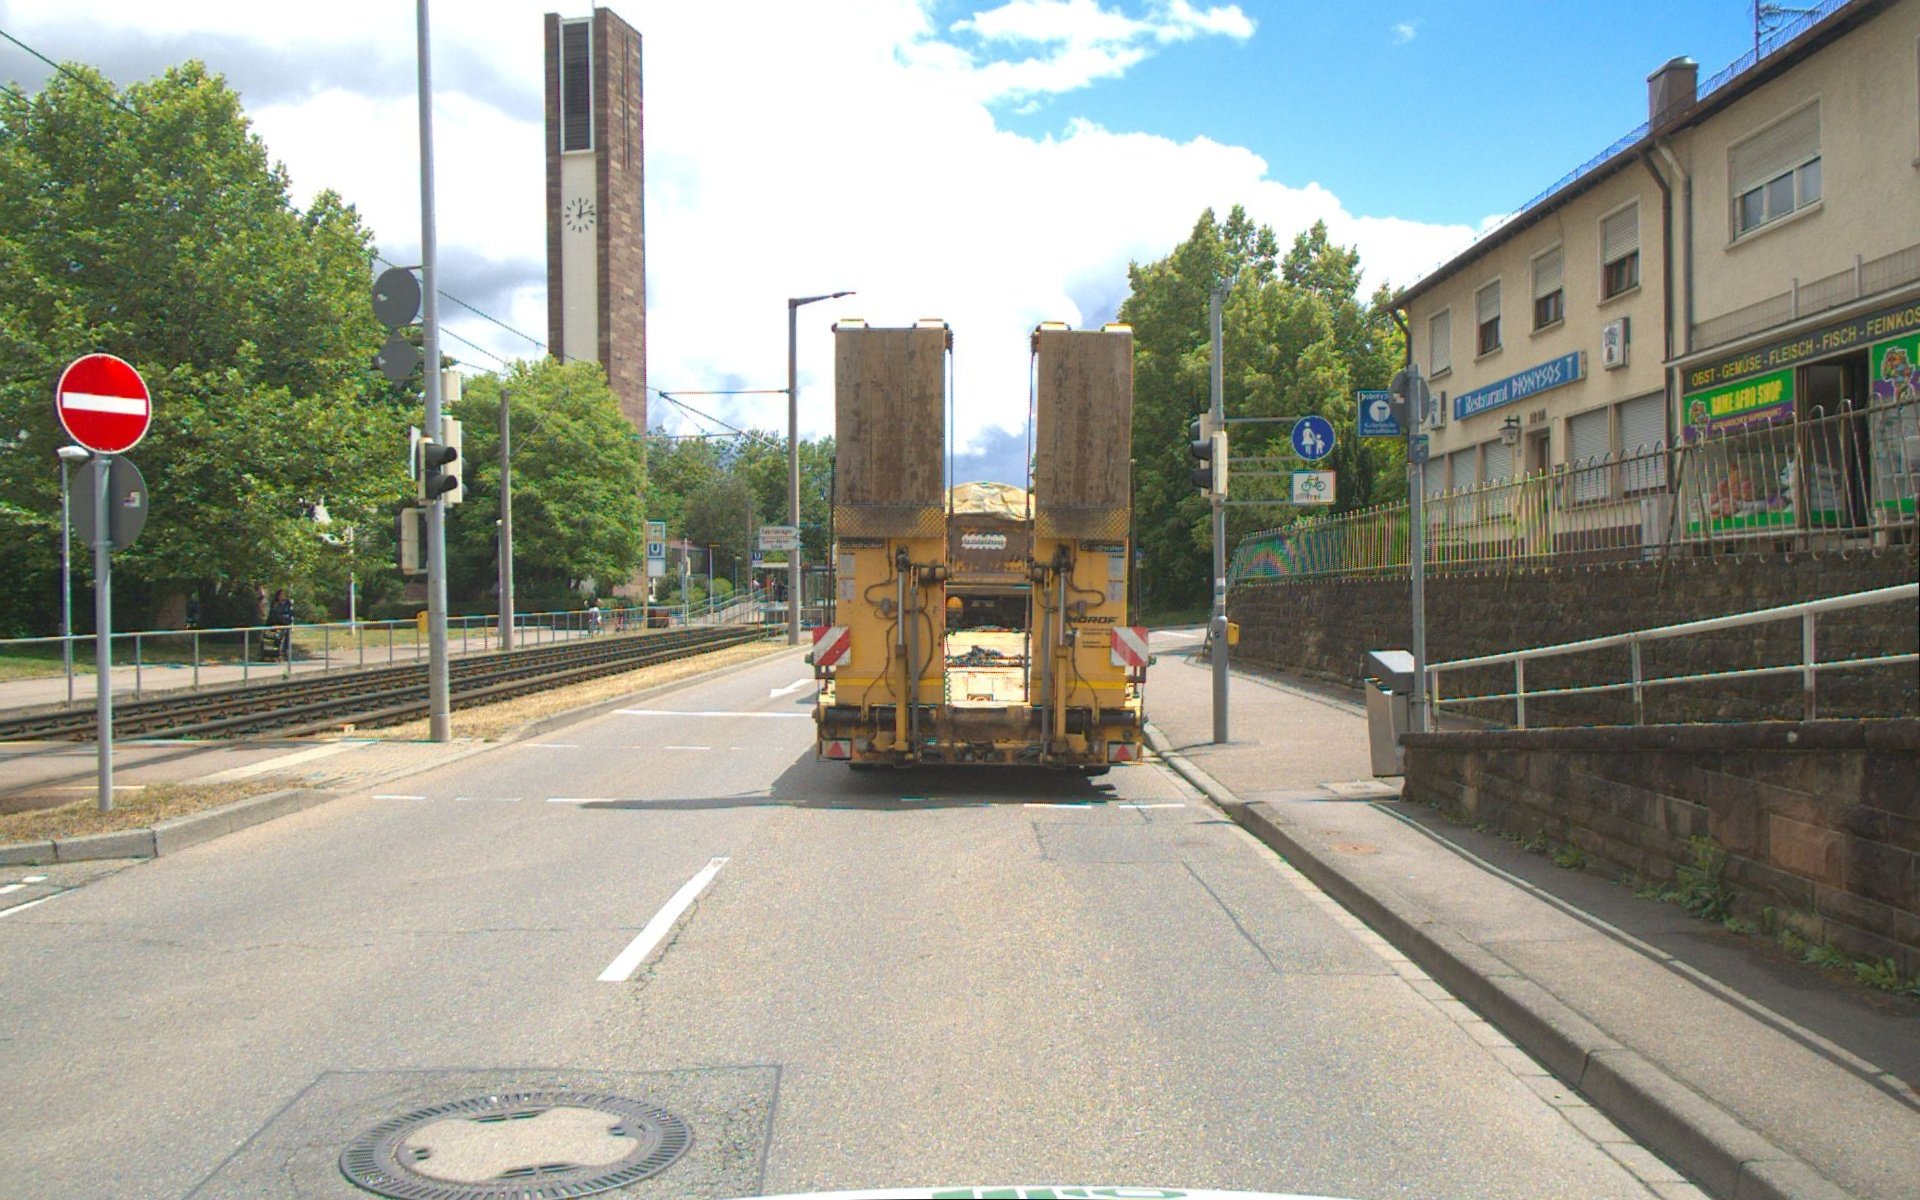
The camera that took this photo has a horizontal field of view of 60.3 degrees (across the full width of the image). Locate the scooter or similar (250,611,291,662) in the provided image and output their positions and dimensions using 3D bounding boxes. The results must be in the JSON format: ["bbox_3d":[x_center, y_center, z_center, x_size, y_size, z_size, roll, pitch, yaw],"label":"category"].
[{"bbox_3d":[-15.557,0.814,37.327,0.592,1.134,0.821,0,0,-1],"label":"scooter or similar"}]

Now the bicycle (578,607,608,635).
[{"bbox_3d":[-13.753,0.783,62.022,0.624,1.011,1.928,1,0,1],"label":"bicycle"}]

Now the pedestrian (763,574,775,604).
[{"bbox_3d":[-13.269,-0.739,115.121,0.697,2.049,0.732,1,0,-1],"label":"pedestrian"}]

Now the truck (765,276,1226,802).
[{"bbox_3d":[0.092,-0.441,18.855,3.333,3.798,13.734,0,0,-1],"label":"truck"}]

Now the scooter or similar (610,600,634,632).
[{"bbox_3d":[-13.791,0.640,67.586,0.636,1.258,1.401,1,1,1],"label":"scooter or similar"}]

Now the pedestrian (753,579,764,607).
[{"bbox_3d":[-13.379,-0.459,109.830,0.572,1.809,0.576,1,0,1],"label":"pedestrian"}]

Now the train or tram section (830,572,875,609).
[{"bbox_3d":[-10.953,-0.875,170.294,3.044,3.525,18.827,1,0,1],"label":"train or tram section"}]

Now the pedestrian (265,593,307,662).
[{"bbox_3d":[-15.564,0.619,38.184,0.600,1.567,0.874,0,0,-1],"label":"pedestrian"}]

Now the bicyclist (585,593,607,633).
[{"bbox_3d":[-13.744,0.489,62.411,0.620,1.454,0.790,1,0,1],"label":"bicyclist"}]
